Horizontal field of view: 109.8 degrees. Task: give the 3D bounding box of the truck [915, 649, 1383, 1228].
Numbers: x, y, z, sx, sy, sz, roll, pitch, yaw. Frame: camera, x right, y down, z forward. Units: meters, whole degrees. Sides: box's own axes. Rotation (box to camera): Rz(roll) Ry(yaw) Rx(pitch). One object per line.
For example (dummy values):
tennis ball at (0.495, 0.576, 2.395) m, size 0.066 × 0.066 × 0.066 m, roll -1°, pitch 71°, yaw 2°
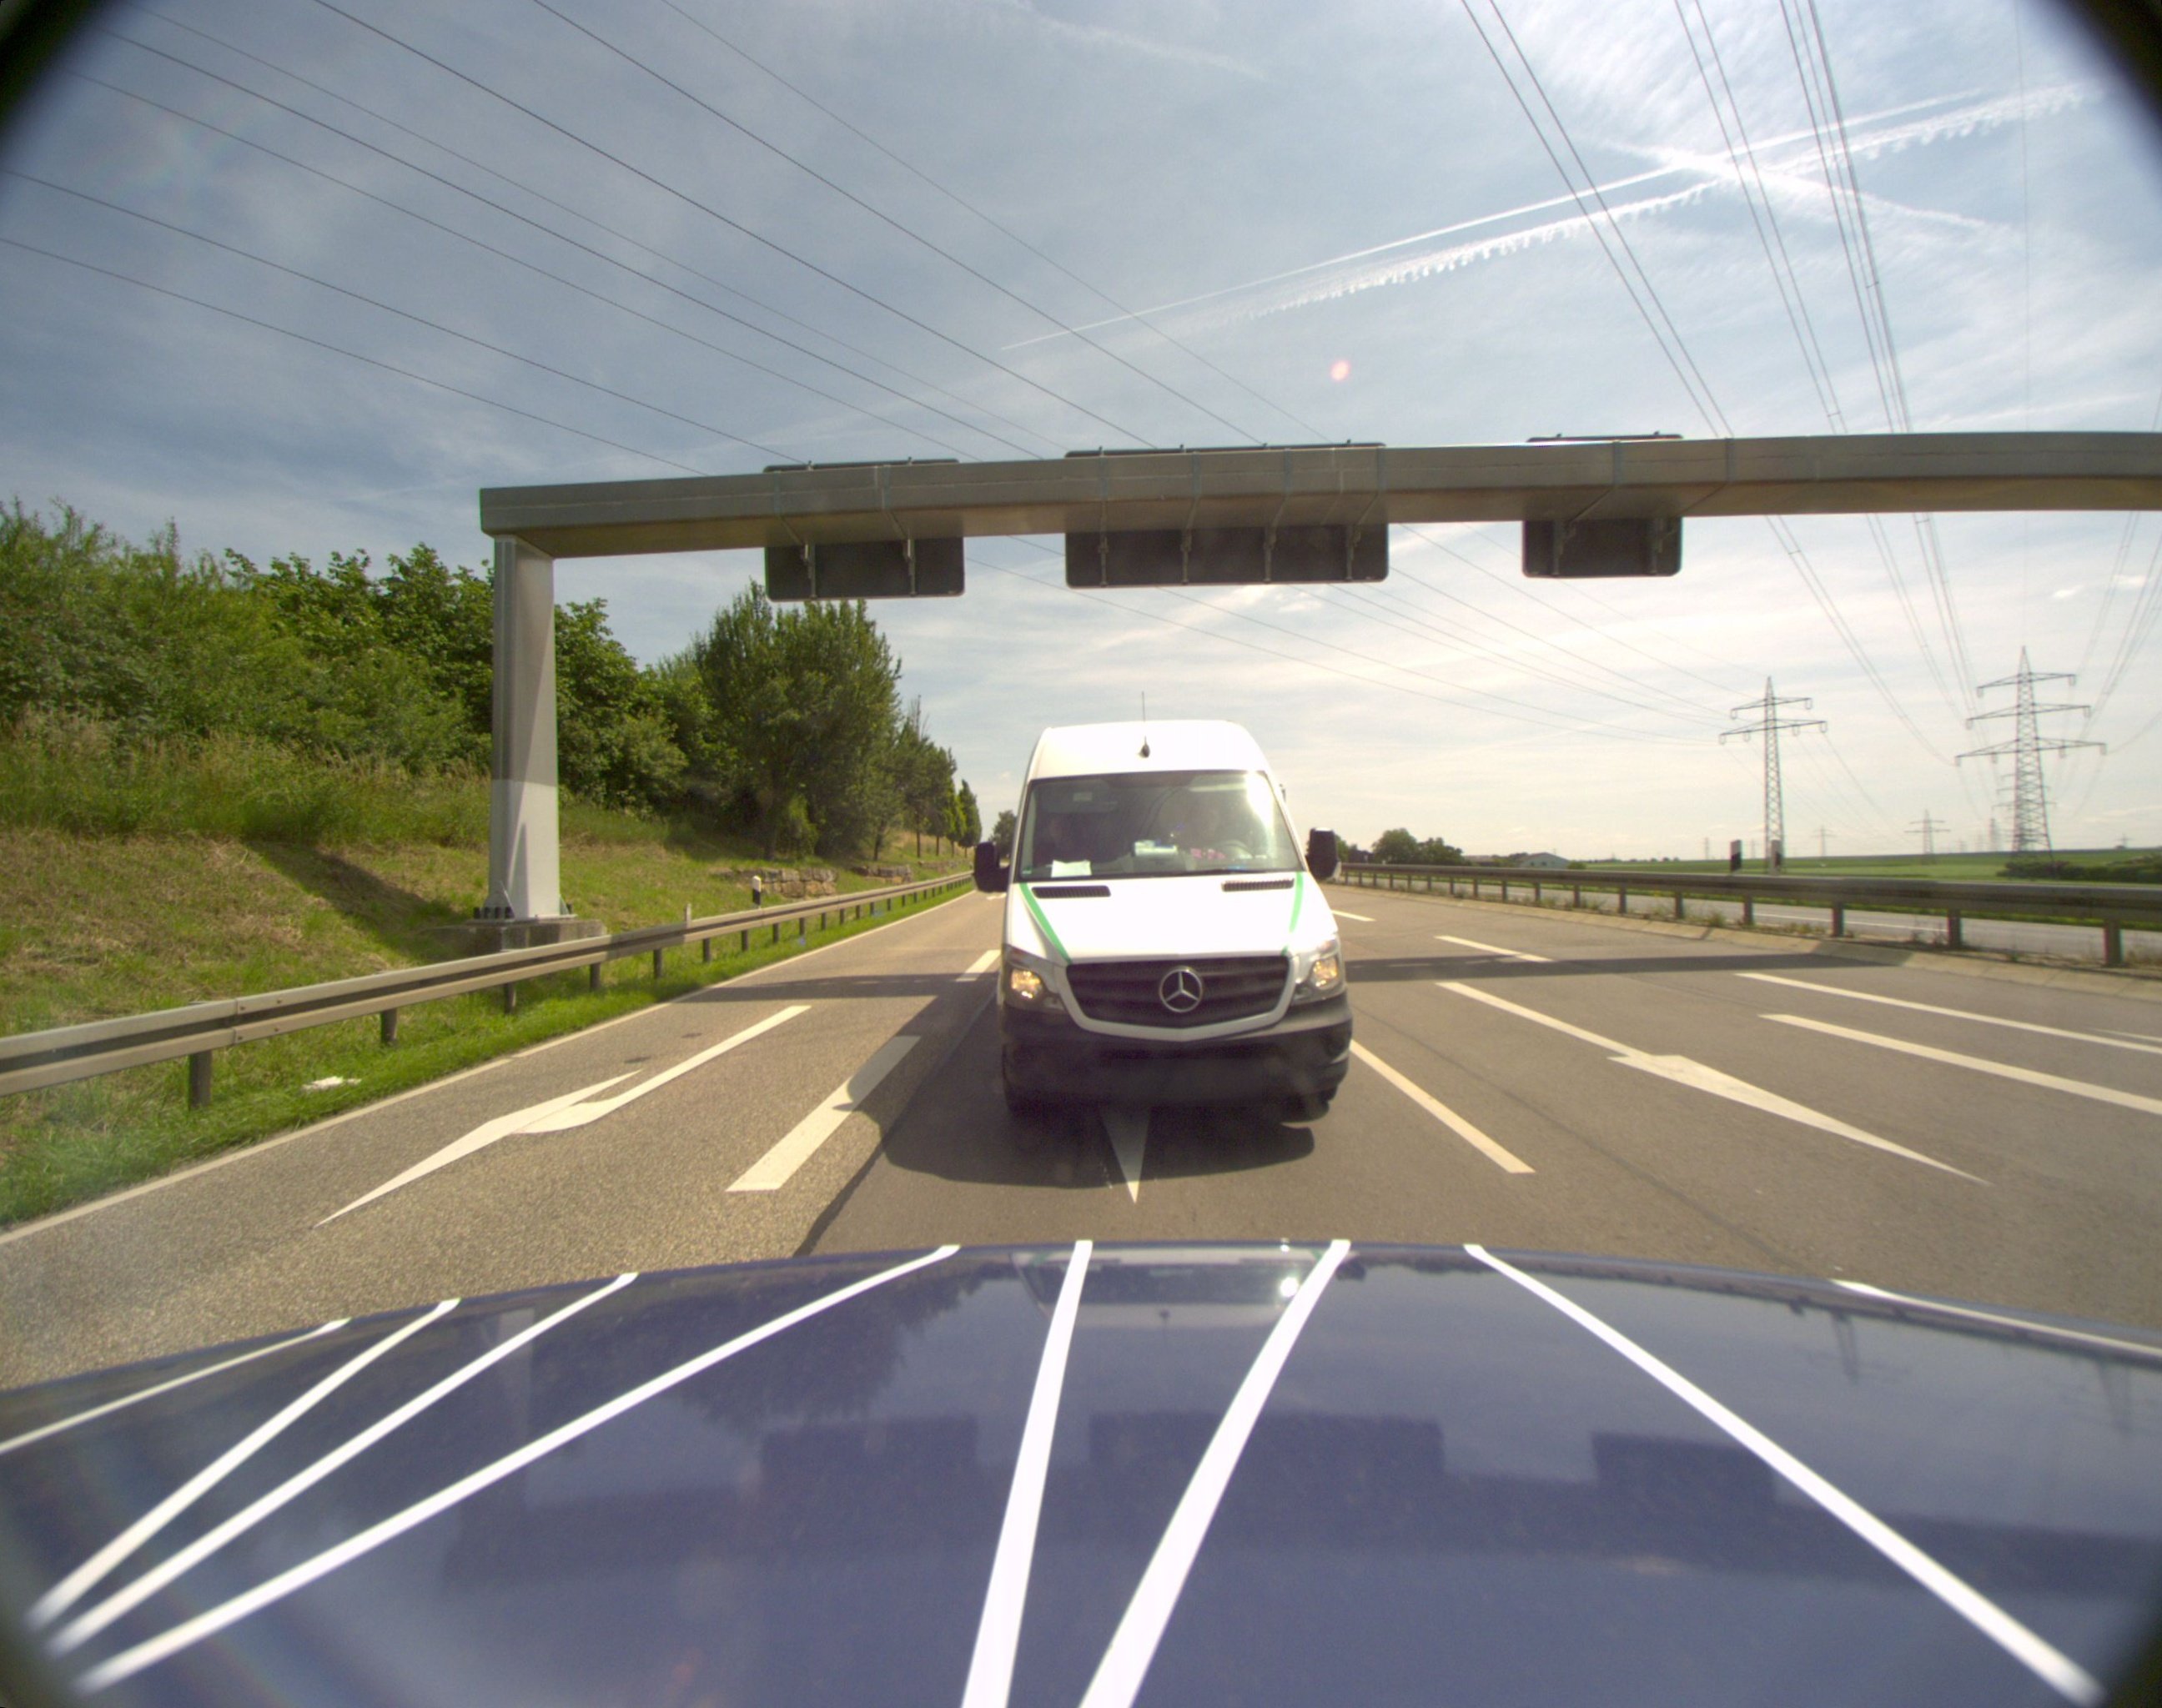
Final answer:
truck at (0.397, 0.379, 5.923) m, size 1.998 × 2.518 × 5.105 m, roll -2°, pitch 0°, yaw 2°
